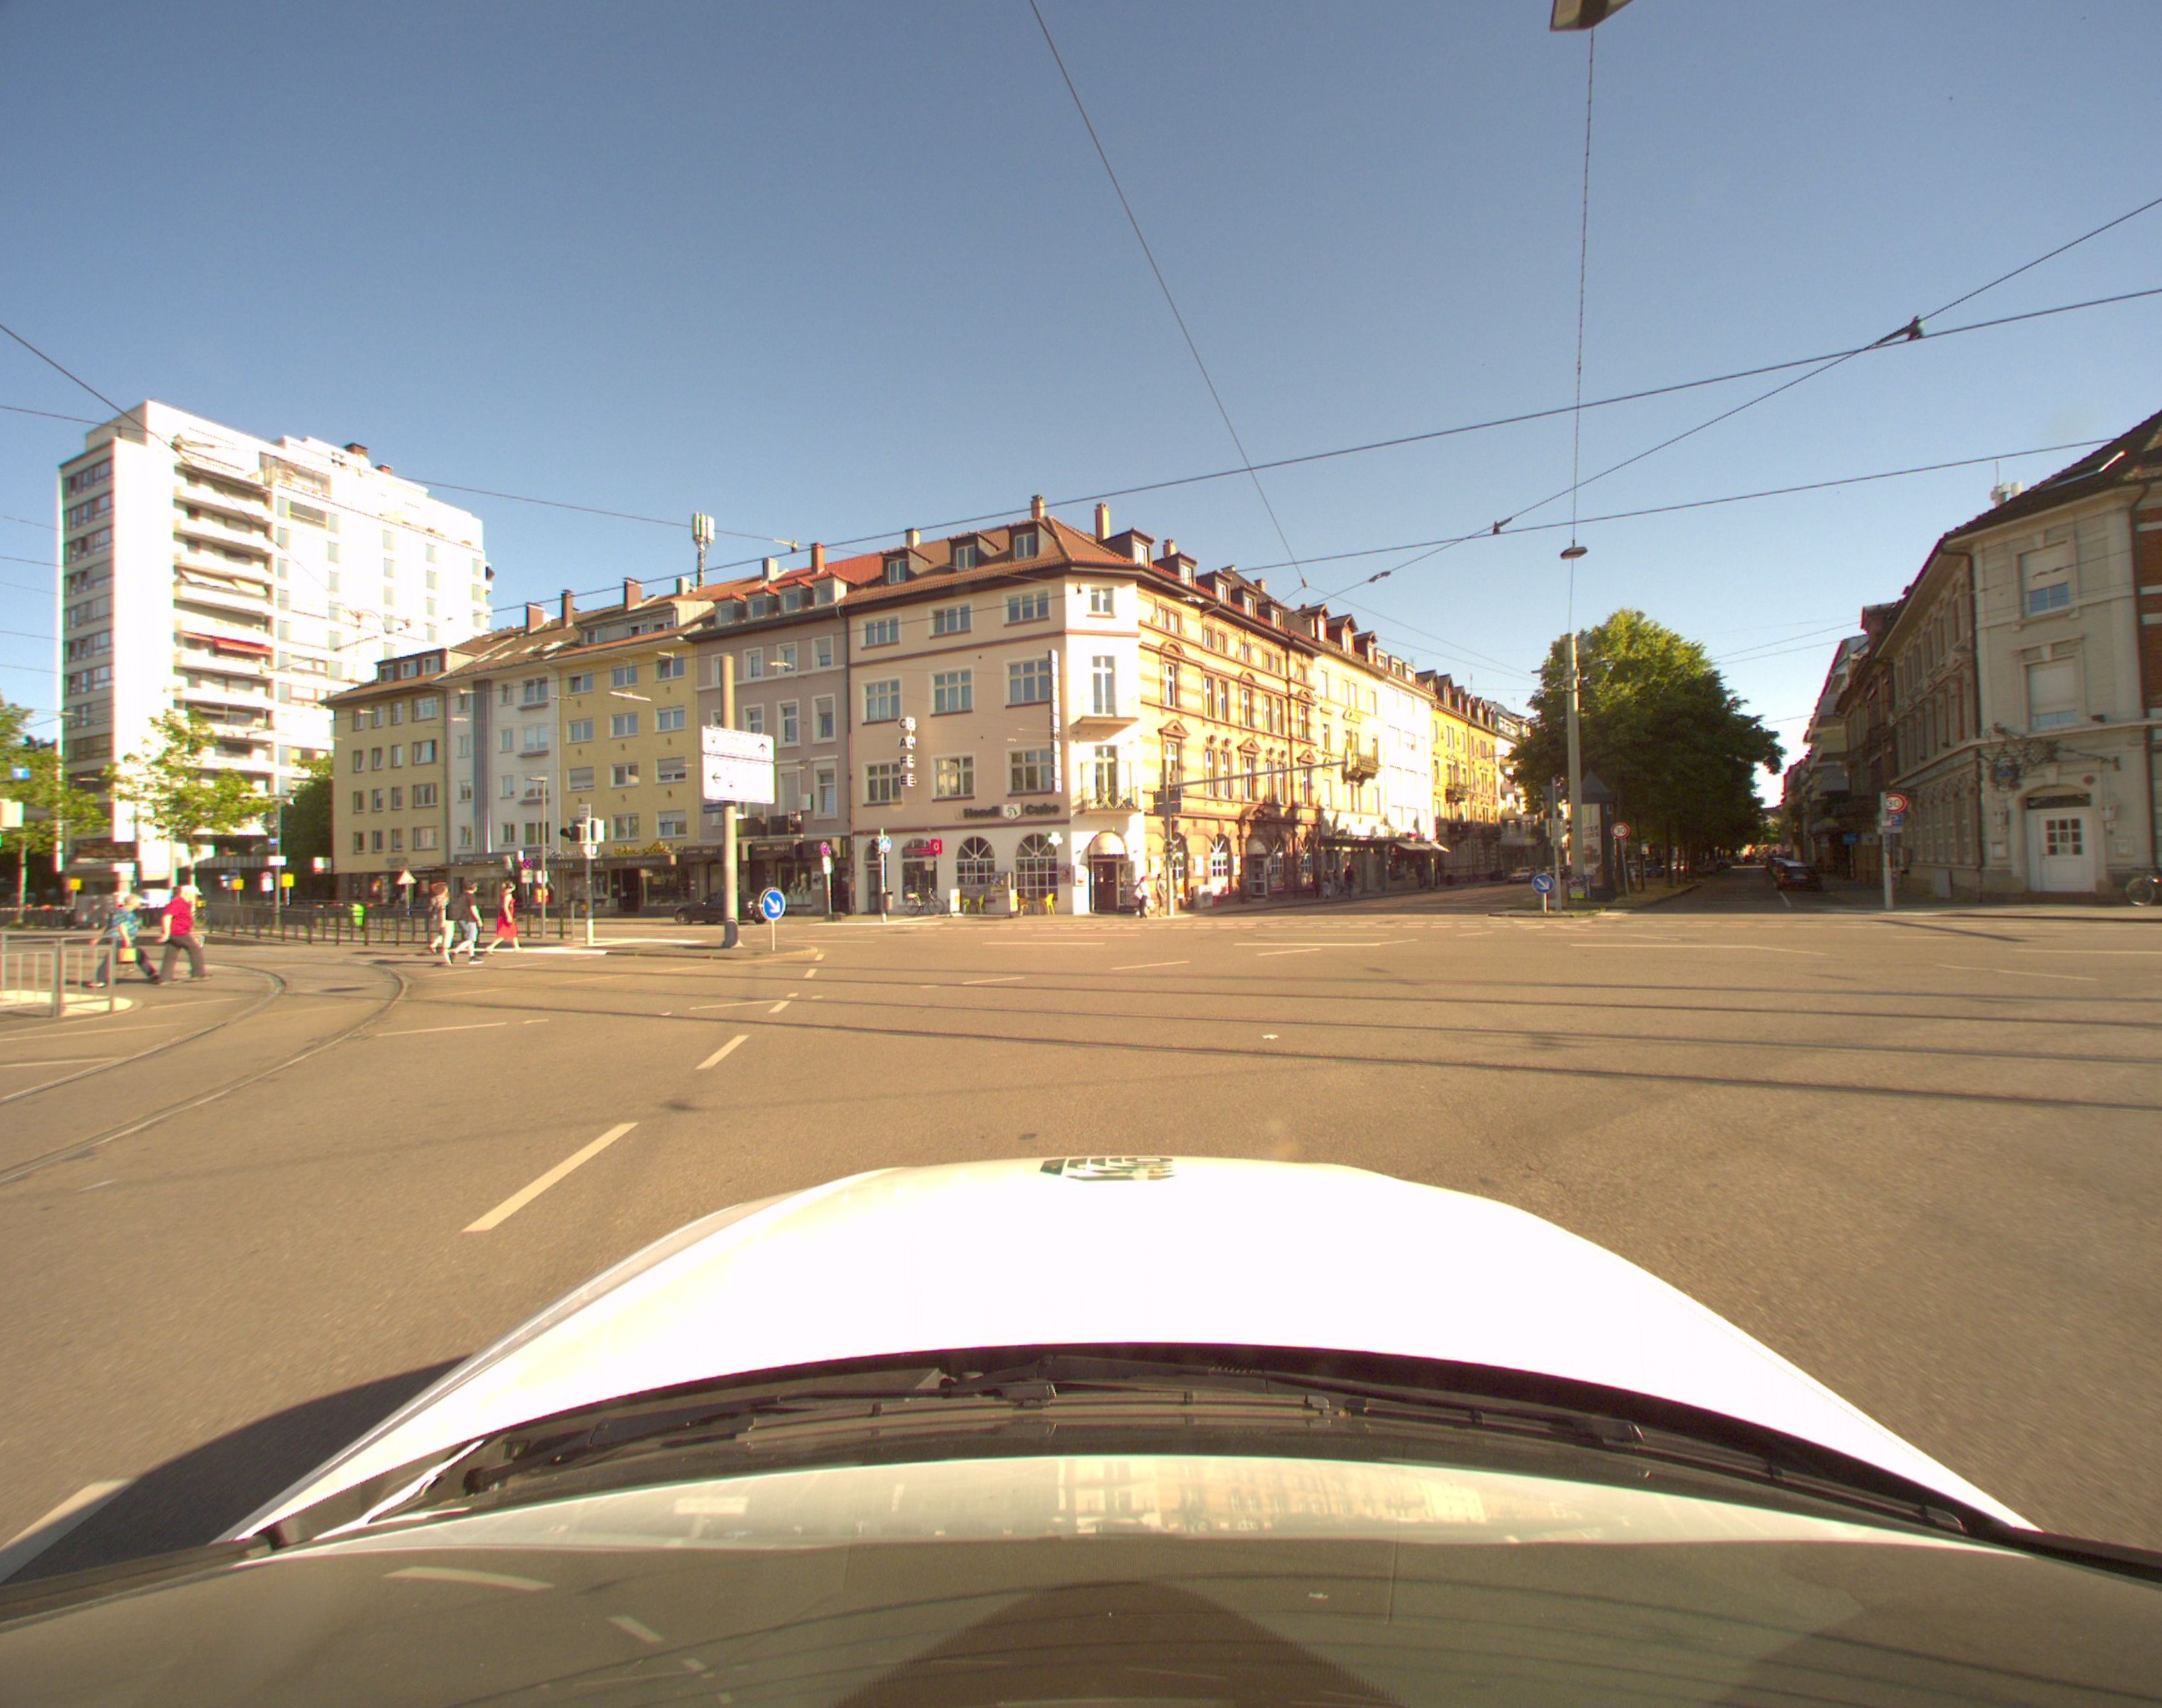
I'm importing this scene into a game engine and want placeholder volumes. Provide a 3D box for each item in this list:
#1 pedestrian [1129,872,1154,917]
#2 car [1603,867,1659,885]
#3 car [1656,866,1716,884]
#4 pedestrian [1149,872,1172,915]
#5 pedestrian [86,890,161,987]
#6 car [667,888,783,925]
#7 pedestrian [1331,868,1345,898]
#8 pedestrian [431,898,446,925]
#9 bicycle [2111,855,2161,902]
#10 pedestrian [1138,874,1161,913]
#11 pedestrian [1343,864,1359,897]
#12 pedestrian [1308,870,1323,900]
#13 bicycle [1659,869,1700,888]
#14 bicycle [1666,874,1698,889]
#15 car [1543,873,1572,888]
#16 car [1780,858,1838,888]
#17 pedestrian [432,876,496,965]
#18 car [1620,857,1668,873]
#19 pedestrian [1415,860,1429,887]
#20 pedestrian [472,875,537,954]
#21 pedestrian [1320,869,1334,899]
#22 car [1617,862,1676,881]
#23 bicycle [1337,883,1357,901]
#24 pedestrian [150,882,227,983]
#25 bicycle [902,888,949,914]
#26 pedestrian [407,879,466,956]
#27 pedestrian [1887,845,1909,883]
[{"bbox_3d":[2.273,1.528,30.776,0.668,1.642,0.582,-4,-3,37],"label":"pedestrian"},{"bbox_3d":[52.894,2.144,78.320,2.010,1.545,3.954,0,-3,-38],"label":"car"},{"bbox_3d":[55.376,1.925,74.556,2.009,1.545,3.956,0,-3,-36],"label":"car"},{"bbox_3d":[3.126,1.554,32.061,0.624,1.642,0.556,-4,-3,37],"label":"pedestrian"},{"bbox_3d":[-16.982,1.468,14.461,0.854,1.631,0.813,-4,-3,40],"label":"pedestrian"},{"bbox_3d":[-15.259,2.266,34.904,4.600,1.440,1.753,-3,-3,20],"label":"car"},{"bbox_3d":[14.618,1.658,46.357,0.545,1.642,0.637,-4,-3,35],"label":"pedestrian"},{"bbox_3d":[-38.567,3.449,48.878,0.460,1.562,0.511,-3,-3,26],"label":"pedestrian"},{"bbox_3d":[28.323,0.625,21.070,1.942,1.191,0.549,-3,-3,28],"label":"bicycle"},{"bbox_3d":[2.772,1.589,32.963,0.660,1.524,0.690,-1,-3,-23],"label":"pedestrian"},{"bbox_3d":[15.377,1.513,46.418,0.574,1.836,0.637,-4,-3,39],"label":"pedestrian"},{"bbox_3d":[13.359,1.754,46.349,0.621,1.642,0.541,-4,-3,35],"label":"pedestrian"},{"bbox_3d":[34.195,1.398,46.535,0.582,1.067,1.940,-1,-2,-13],"label":"bicycle"},{"bbox_3d":[44.417,2.048,60.170,0.582,1.067,1.940,-1,-2,-13],"label":"bicycle"},{"bbox_3d":[49.021,2.721,83.740,1.974,1.497,4.059,-4,-3,38],"label":"car"},{"bbox_3d":[39.255,1.031,43.984,1.974,1.497,4.059,-4,-3,38],"label":"car"},{"bbox_3d":[-12.517,1.330,16.538,0.648,1.733,0.803,-2,-2,10],"label":"pedestrian"},{"bbox_3d":[62.790,1.240,90.832,2.010,1.545,3.954,0,-3,-38],"label":"car"},{"bbox_3d":[24.844,1.434,59.288,0.675,1.909,0.637,-4,-3,39],"label":"pedestrian"},{"bbox_3d":[-13.187,1.371,18.646,0.831,1.733,0.910,-3,-2,21],"label":"pedestrian"},{"bbox_3d":[13.936,1.689,46.078,0.545,1.642,0.541,-4,-3,34],"label":"pedestrian"},{"bbox_3d":[51.952,1.614,74.901,2.010,1.545,3.954,0,-3,-38],"label":"car"},{"bbox_3d":[16.548,2.339,50.623,0.490,1.067,1.781,-4,-3,40],"label":"bicycle"},{"bbox_3d":[-15.947,1.374,14.582,0.853,1.724,0.815,1,-4,-45],"label":"pedestrian"},{"bbox_3d":[-6.771,2.034,35.422,1.928,1.067,0.586,-3,-2,16],"label":"bicycle"},{"bbox_3d":[-14.980,1.463,18.934,0.779,1.733,0.828,-3,-3,27],"label":"pedestrian"},{"bbox_3d":[36.855,0.451,36.751,0.585,1.643,0.581,-4,-11,42],"label":"pedestrian"}]
